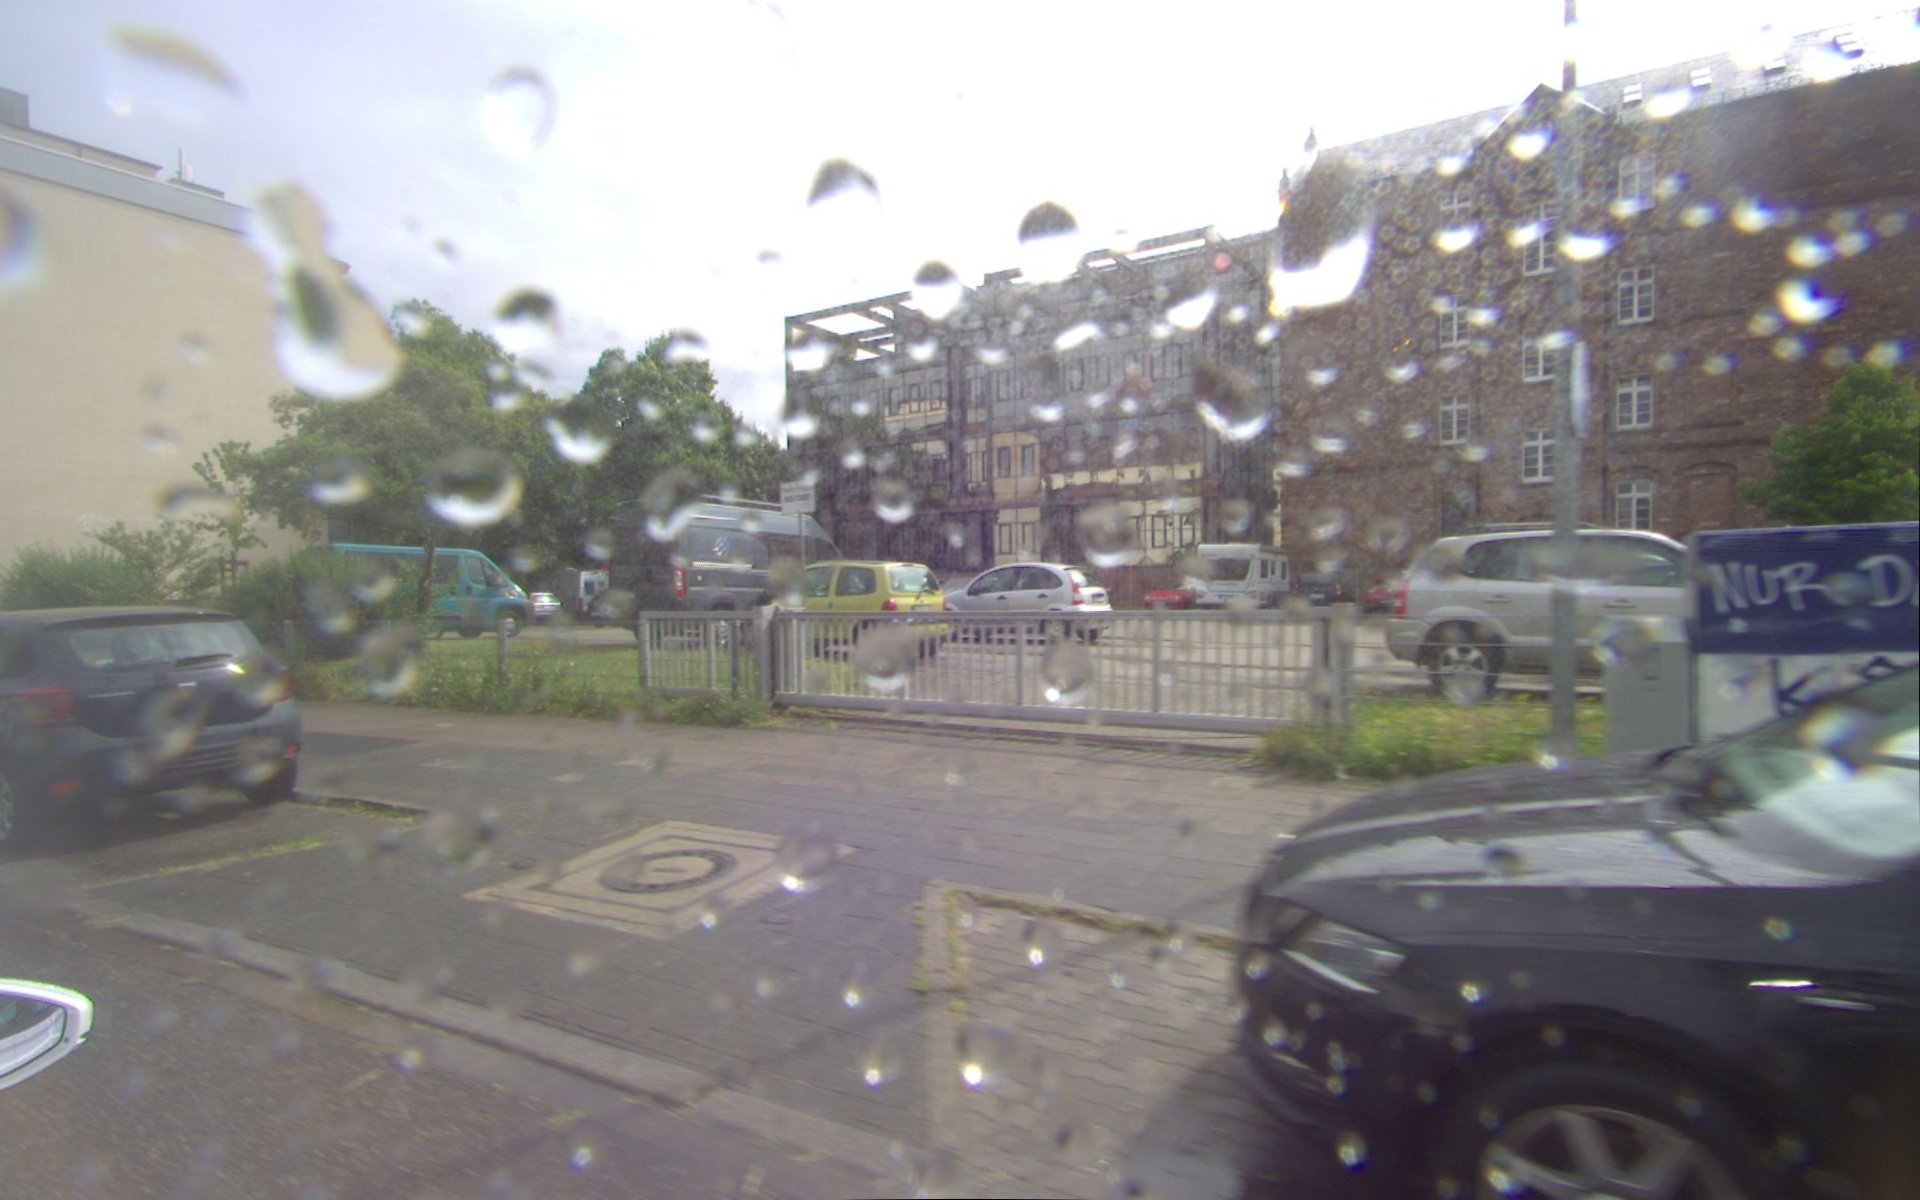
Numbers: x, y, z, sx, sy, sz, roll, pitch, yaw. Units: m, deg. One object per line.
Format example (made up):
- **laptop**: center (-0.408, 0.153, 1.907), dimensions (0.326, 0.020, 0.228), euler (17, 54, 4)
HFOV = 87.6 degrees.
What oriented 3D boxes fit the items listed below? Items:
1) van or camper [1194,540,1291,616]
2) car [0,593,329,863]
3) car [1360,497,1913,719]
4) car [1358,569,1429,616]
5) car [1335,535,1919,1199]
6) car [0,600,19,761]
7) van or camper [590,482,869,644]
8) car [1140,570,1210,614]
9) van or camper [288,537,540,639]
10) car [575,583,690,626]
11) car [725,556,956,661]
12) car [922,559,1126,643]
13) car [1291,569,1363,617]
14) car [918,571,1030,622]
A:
- **van or camper**: center (10.308, -0.697, 36.259), dimensions (2.225, 2.518, 4.779), euler (-1, -2, 31)
- **car**: center (-6.846, 0.780, 7.619), dimensions (3.939, 1.548, 1.754), euler (-1, 2, 29)
- **car**: center (6.348, 0.056, 9.910), dimensions (4.179, 1.774, 1.798), euler (0, 2, 34)
- **car**: center (14.946, -0.200, 34.451), dimensions (1.649, 1.506, 3.659), euler (0, -1, 33)
- **car**: center (3.119, 0.630, 1.862), dimensions (4.312, 1.561, 1.770), euler (0, 3, 30)
- **car**: center (-11.245, 0.835, 9.905), dimensions (4.097, 1.529, 1.601), euler (-1, 3, 30)
- **van or camper**: center (-4.096, -0.590, 18.747), dimensions (2.144, 2.588, 4.986), euler (-1, 0, 33)
- **car**: center (8.212, -0.272, 38.048), dimensions (1.660, 1.538, 3.494), euler (-1, -2, 29)
- **van or camper**: center (-12.838, -0.282, 23.844), dimensions (2.290, 2.160, 4.744), euler (0, 1, 35)
- **car**: center (-12.612, 0.143, 38.777), dimensions (1.617, 1.507, 4.087), euler (0, 2, 35)
- **car**: center (-1.896, 0.102, 15.637), dimensions (3.370, 1.468, 1.605), euler (0, 2, 35)
- **car**: center (1.219, 0.002, 19.629), dimensions (3.667, 1.506, 1.644), euler (0, 2, 35)
- **car**: center (13.137, -0.272, 35.751), dimensions (1.649, 1.598, 3.656), euler (0, 2, 33)
- **car**: center (0.496, -0.138, 31.282), dimensions (1.649, 1.485, 3.963), euler (0, 1, 33)
